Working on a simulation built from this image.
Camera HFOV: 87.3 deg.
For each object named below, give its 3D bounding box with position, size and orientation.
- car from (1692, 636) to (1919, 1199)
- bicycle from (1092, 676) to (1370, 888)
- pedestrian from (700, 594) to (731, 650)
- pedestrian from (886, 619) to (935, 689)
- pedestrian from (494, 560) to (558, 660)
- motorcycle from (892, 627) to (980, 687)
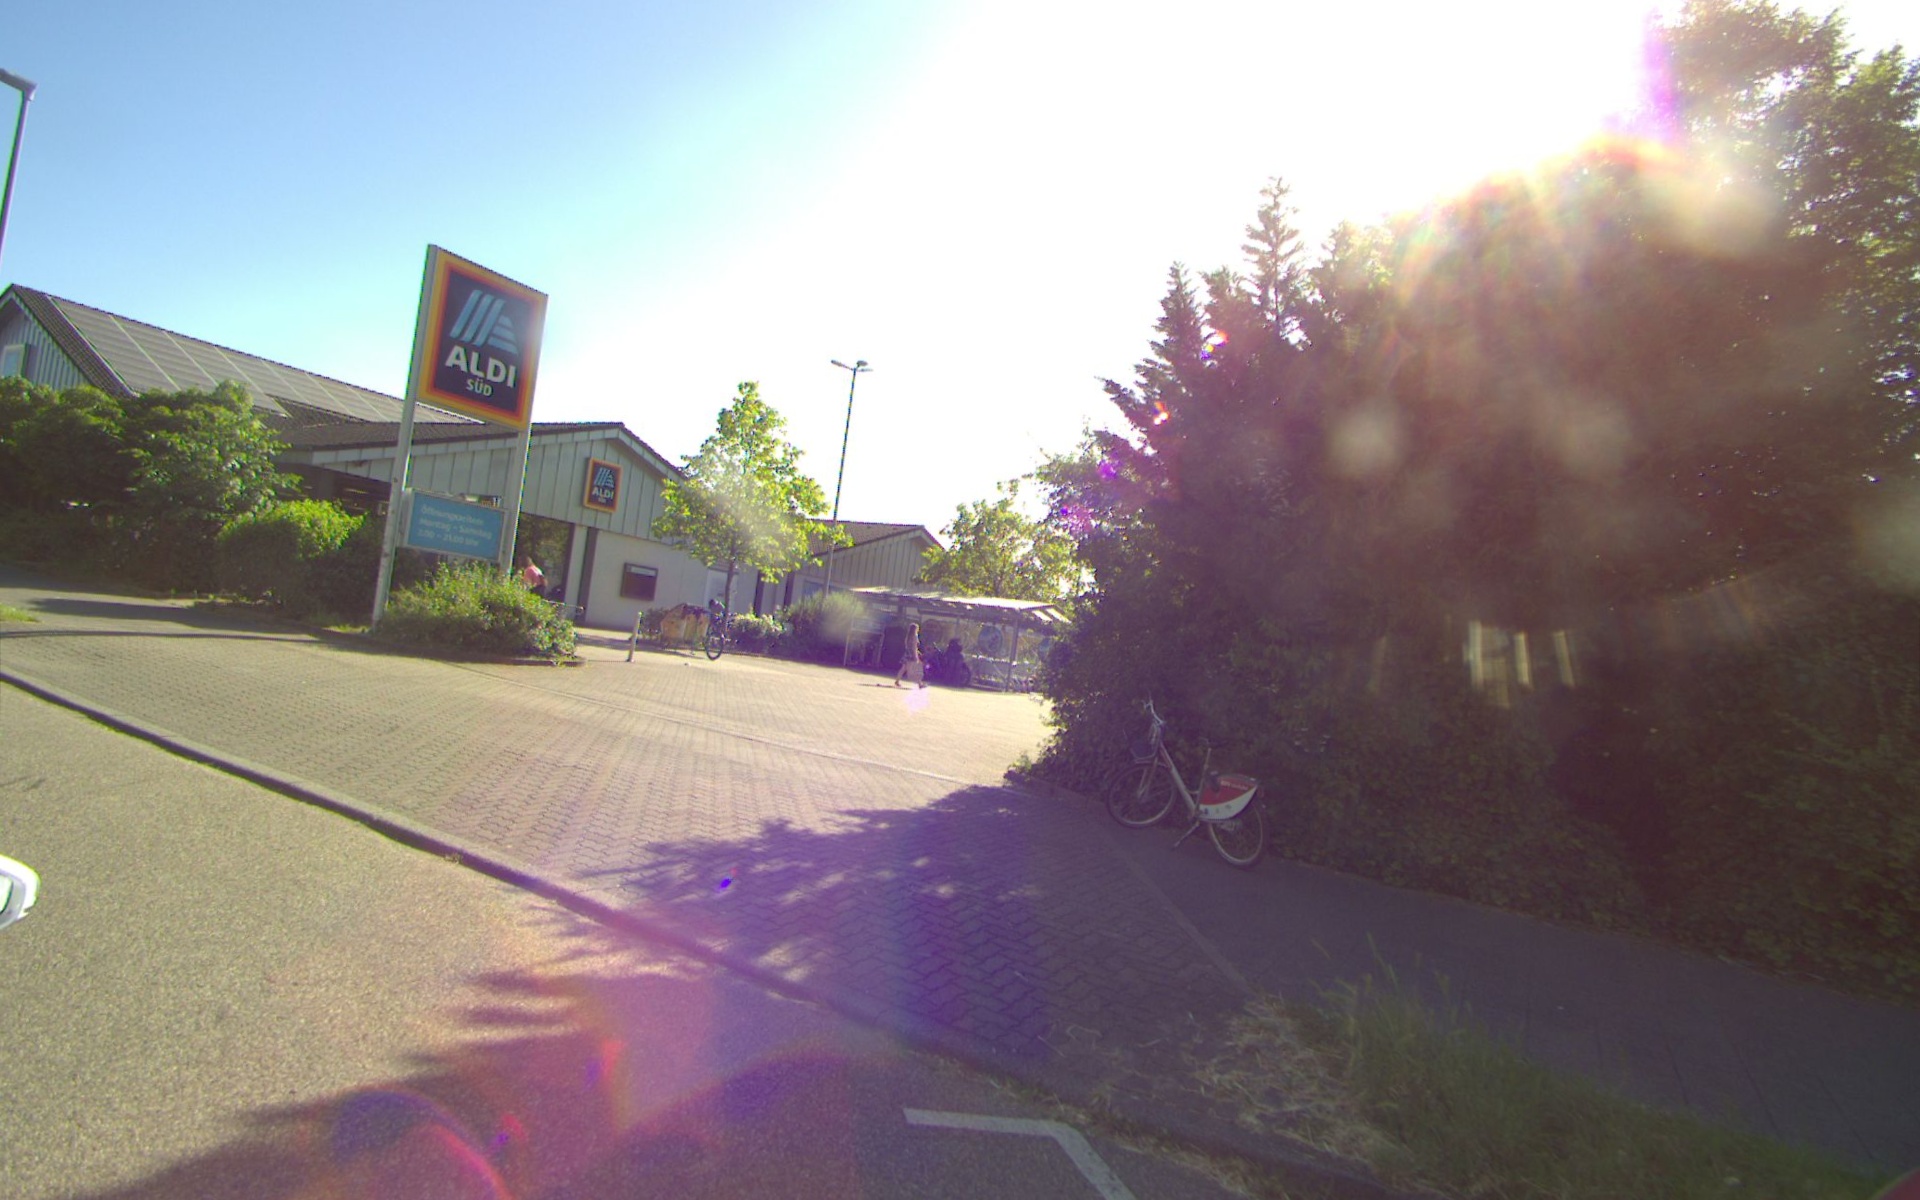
[{"bbox_3d":[3.477,1.241,0.708,4.577,1.825,1.845,6,-3,32],"label":"car"},{"bbox_3d":[2.015,1.314,7.706,0.718,1.235,1.874,7,-1,-42],"label":"bicycle"},{"bbox_3d":[-7.594,0.670,31.272,0.682,1.636,0.775,8,-1,-12],"label":"pedestrian"},{"bbox_3d":[-1.272,1.391,25.932,0.814,1.675,0.673,7,-1,30],"label":"pedestrian"},{"bbox_3d":[-7.729,0.167,17.909,0.688,1.650,0.769,9,-2,-38],"label":"pedestrian"},{"bbox_3d":[-0.770,1.800,31.993,2.554,1.526,0.871,7,-2,32],"label":"motorcycle"}]
